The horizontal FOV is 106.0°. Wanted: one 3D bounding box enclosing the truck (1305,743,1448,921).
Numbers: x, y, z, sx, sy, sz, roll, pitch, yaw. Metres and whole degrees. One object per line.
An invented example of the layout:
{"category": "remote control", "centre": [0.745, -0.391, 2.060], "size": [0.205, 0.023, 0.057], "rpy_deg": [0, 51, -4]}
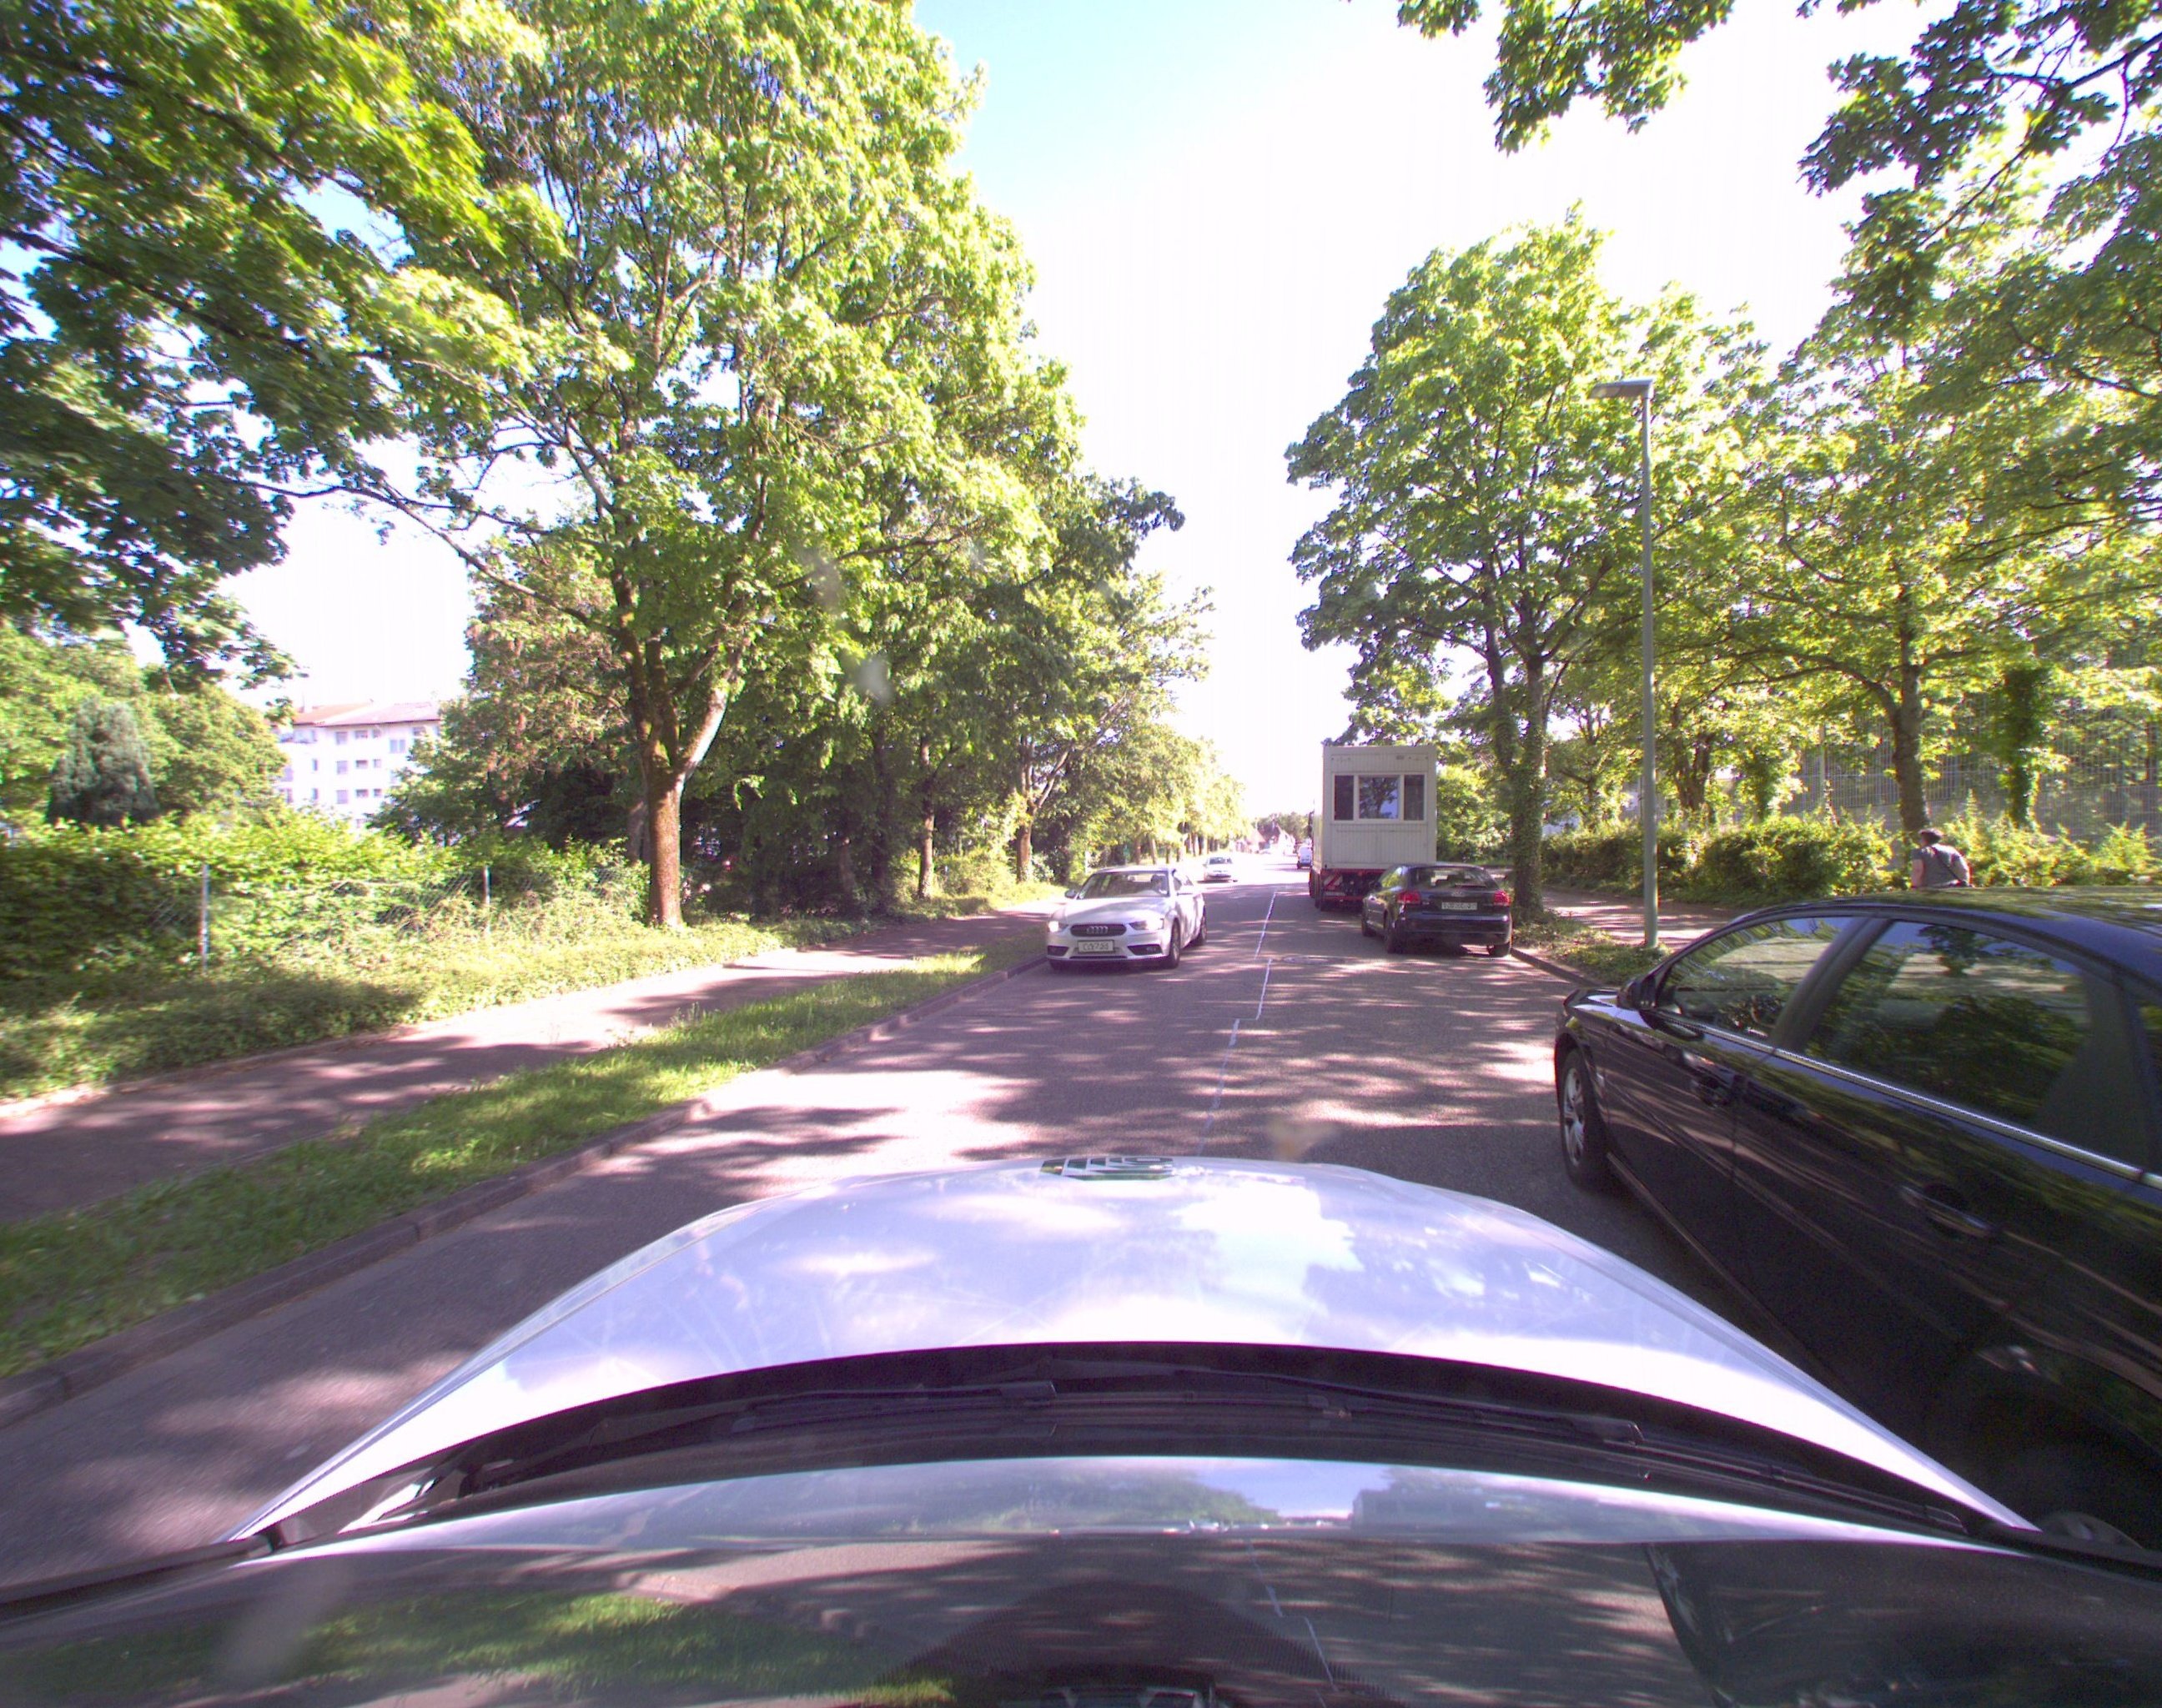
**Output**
{"category": "truck", "centre": [8.089, -0.552, 23.564], "size": [2.753, 3.995, 10.387], "rpy_deg": [0, 1, 14]}

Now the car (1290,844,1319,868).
{"category": "car", "centre": [17.760, 0.131, 64.837], "size": [1.934, 1.843, 4.012], "rpy_deg": [-1, 0, 11]}

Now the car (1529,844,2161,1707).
{"category": "car", "centre": [2.604, 0.732, 2.056], "size": [1.735, 1.480, 4.047], "rpy_deg": [0, 0, 16]}

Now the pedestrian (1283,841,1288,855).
{"category": "pedestrian", "centre": [31.008, -0.883, 123.508], "size": [0.746, 2.113, 0.802], "rpy_deg": [1, 0, 17]}

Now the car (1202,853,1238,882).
{"category": "car", "centre": [7.647, 0.693, 44.661], "size": [1.794, 1.420, 3.971], "rpy_deg": [-3, 0, 10]}

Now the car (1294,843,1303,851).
{"category": "car", "centre": [49.013, -1.535, 183.244], "size": [1.769, 1.808, 4.015], "rpy_deg": [-2, 0, 13]}

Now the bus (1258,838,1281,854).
{"category": "bus", "centre": [40.602, -1.750, 175.026], "size": [4.034, 3.349, 9.843], "rpy_deg": [-2, 0, 16]}

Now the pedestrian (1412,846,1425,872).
{"category": "pedestrian", "centre": [20.874, 0.295, 50.403], "size": [0.594, 1.611, 0.602], "rpy_deg": [-2, 0, 11]}

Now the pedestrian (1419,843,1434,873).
{"category": "pedestrian", "centre": [21.445, 0.265, 50.527], "size": [0.693, 1.812, 0.702], "rpy_deg": [-2, 0, 11]}

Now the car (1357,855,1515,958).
{"category": "car", "centre": [5.723, 0.738, 13.608], "size": [1.629, 1.420, 4.013], "rpy_deg": [0, 0, 11]}

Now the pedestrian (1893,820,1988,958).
{"category": "pedestrian", "centre": [10.449, 0.405, 9.921], "size": [0.566, 1.608, 0.675], "rpy_deg": [-1, 0, 23]}

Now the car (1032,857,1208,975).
{"category": "car", "centre": [0.787, 0.824, 12.480], "size": [1.773, 1.416, 4.121], "rpy_deg": [-2, 0, 16]}
